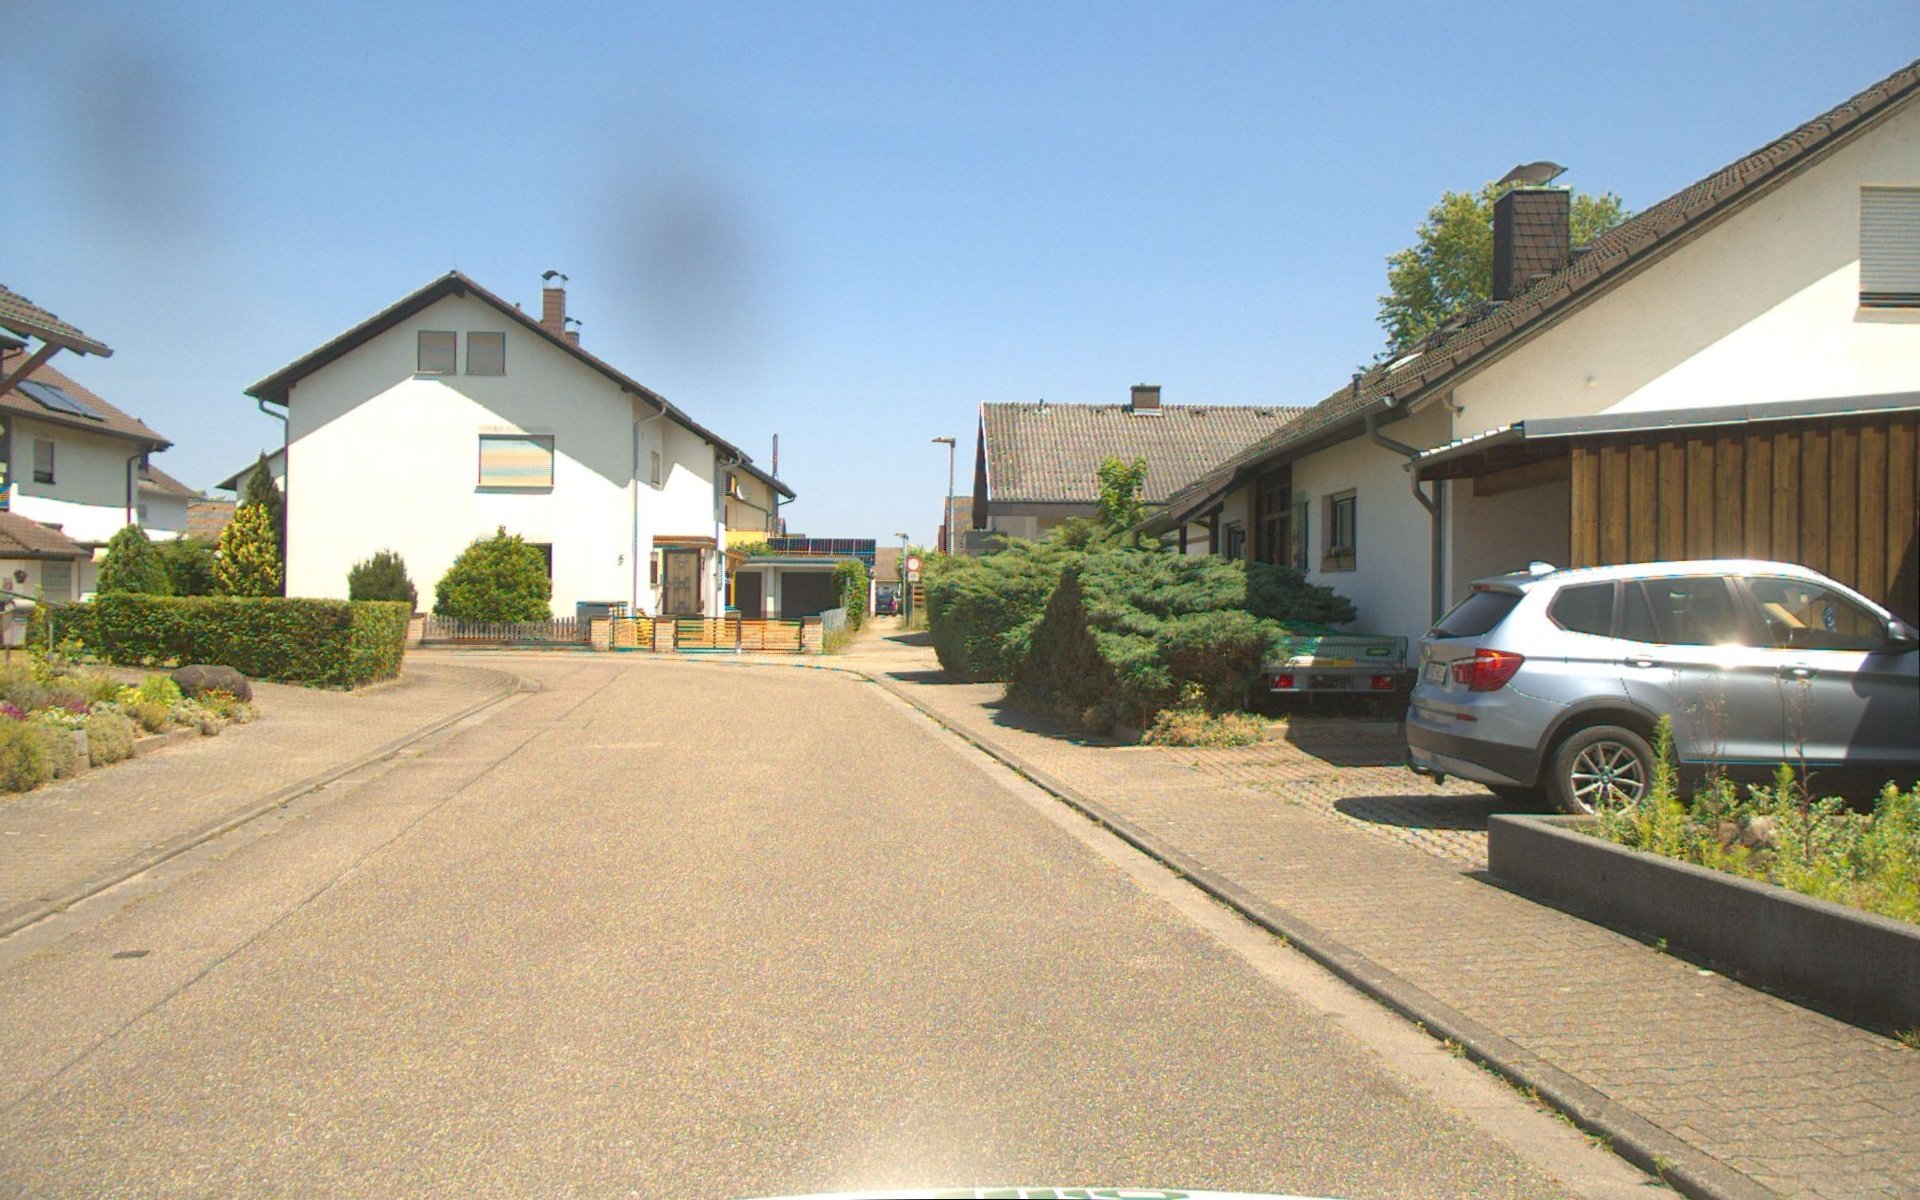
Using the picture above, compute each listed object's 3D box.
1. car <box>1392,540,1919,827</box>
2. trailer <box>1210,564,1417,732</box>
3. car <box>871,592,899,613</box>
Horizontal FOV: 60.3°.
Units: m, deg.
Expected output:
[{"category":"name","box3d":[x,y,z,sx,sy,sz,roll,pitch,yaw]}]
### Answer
[{"category":"car","box3d":[5.412,0.503,11.174,4.531,1.732,1.710,-1,0,1]},{"category":"trailer","box3d":[3.899,0.471,18.709,1.555,1.701,3.296,-1,1,-1]},{"category":"car","box3d":[-6.183,0.179,136.502,2.149,1.731,3.806,0,0,-1]}]
